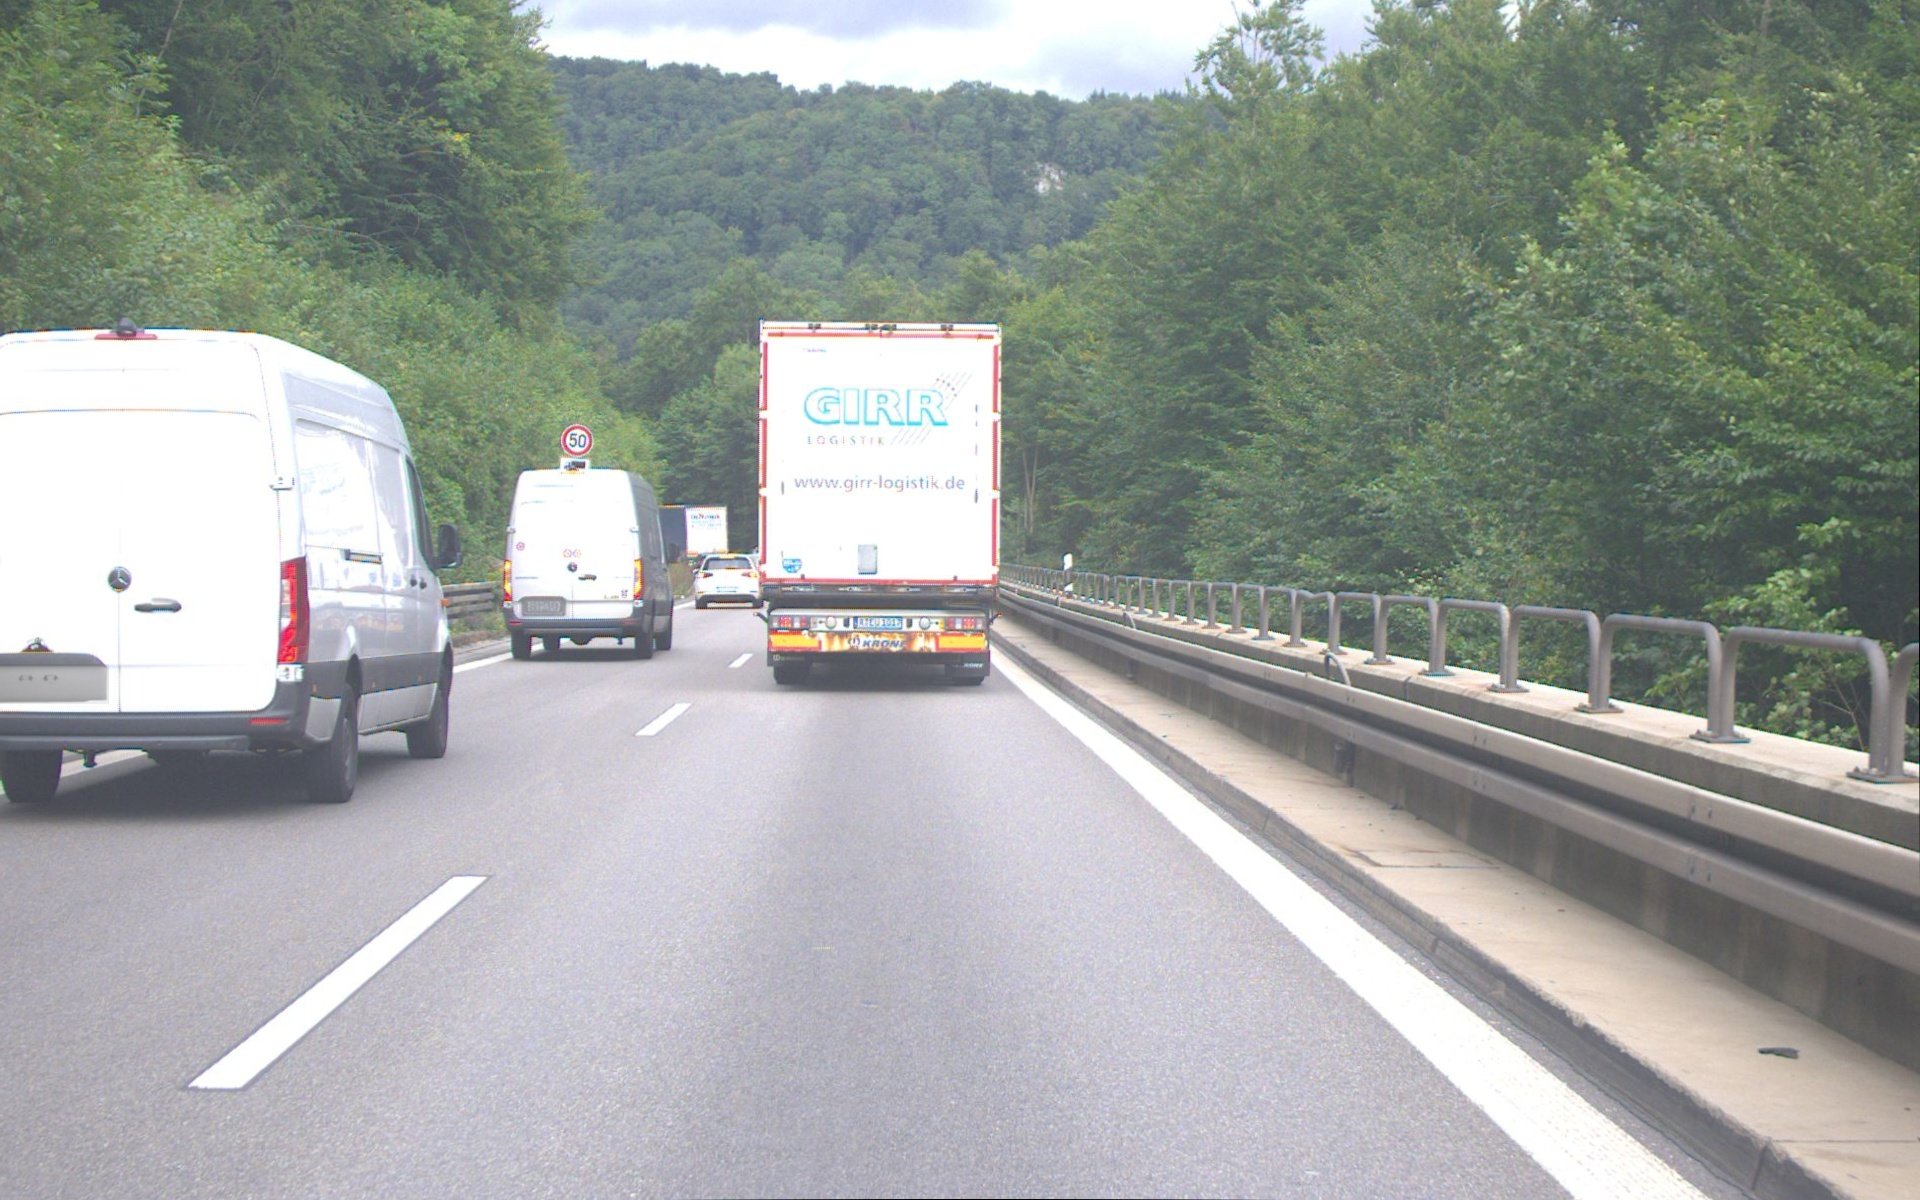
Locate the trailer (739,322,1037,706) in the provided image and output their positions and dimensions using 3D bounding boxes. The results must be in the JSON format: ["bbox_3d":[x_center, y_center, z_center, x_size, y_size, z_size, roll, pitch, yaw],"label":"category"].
[{"bbox_3d":[-0.879,-1.132,42.112,3.057,3.972,12.138,1,2,-1],"label":"trailer"}]

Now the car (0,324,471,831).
[{"bbox_3d":[-4.480,-0.176,21.575,1.989,2.663,6.937,0,1,-1],"label":"car"}]

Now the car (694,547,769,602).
[{"bbox_3d":[-6.094,-0.696,92.029,1.732,1.416,4.000,1,1,-1],"label":"car"}]

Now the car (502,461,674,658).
[{"bbox_3d":[-5.316,-0.601,49.794,1.939,2.663,5.992,0,1,-1],"label":"car"}]

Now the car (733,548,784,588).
[{"bbox_3d":[-7.382,-1.187,126.259,1.732,1.416,4.000,1,1,-2],"label":"car"}]
